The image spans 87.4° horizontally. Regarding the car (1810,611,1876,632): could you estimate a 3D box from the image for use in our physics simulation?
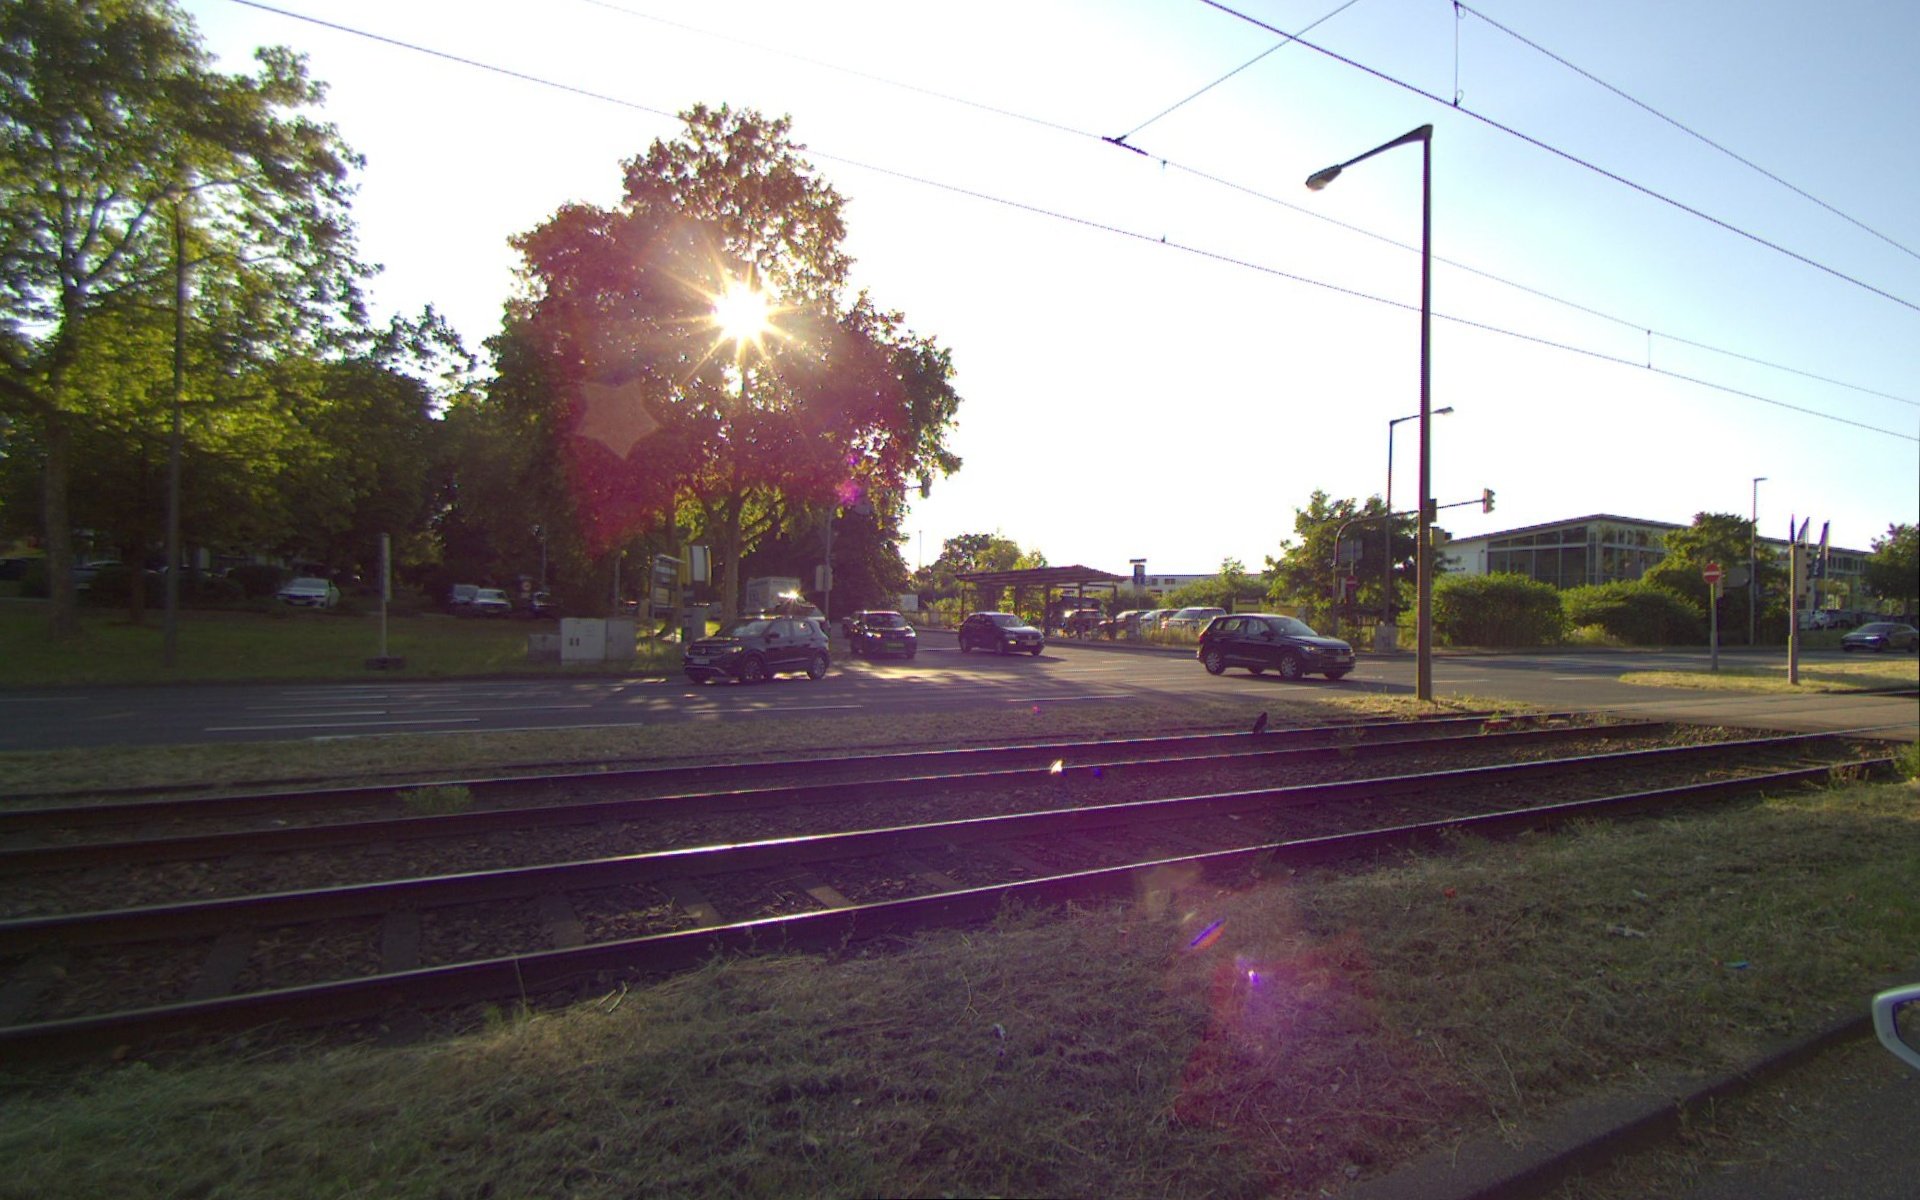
[{"bbox_3d":[71.976,1.739,81.938,3.940,1.577,1.735,1,0,40],"label":"car"}]

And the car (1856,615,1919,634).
[{"bbox_3d":[81.753,2.143,88.505,1.728,1.576,3.957,1,0,-37],"label":"car"}]

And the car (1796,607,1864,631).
[{"bbox_3d":[68.351,1.483,78.977,3.940,1.840,1.735,1,0,40],"label":"car"}]

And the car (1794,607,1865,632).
[{"bbox_3d":[65.167,1.435,75.365,3.940,1.727,1.735,1,0,40],"label":"car"}]

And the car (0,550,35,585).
[{"bbox_3d":[-53.872,-1.857,56.369,2.274,1.875,5.220,2,0,-36],"label":"car"}]

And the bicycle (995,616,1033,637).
[{"bbox_3d":[3.058,1.481,56.403,2.004,1.119,0.777,2,0,-30],"label":"bicycle"}]

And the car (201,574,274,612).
[{"bbox_3d":[-32.125,-0.302,44.745,1.916,1.530,4.071,2,0,-26],"label":"car"}]

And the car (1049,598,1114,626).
[{"bbox_3d":[9.275,0.942,76.655,4.715,2.041,1.853,1,0,-30],"label":"car"}]

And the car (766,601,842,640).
[{"bbox_3d":[-7.216,0.929,46.207,1.824,1.656,4.270,1,0,-34],"label":"car"}]

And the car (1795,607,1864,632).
[{"bbox_3d":[66.713,1.485,77.165,3.940,1.727,1.735,1,0,40],"label":"car"}]

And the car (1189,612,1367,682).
[{"bbox_3d":[8.237,1.192,26.427,1.857,1.656,4.333,1,-2,-31],"label":"car"}]

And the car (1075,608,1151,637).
[{"bbox_3d":[8.809,1.289,57.790,4.123,1.604,1.853,1,0,-30],"label":"car"}]

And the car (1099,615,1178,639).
[{"bbox_3d":[9.928,1.491,55.859,4.123,1.284,1.853,1,0,-30],"label":"car"}]

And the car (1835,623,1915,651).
[{"bbox_3d":[52.532,2.101,57.689,4.112,1.501,1.858,1,0,-23],"label":"car"}]

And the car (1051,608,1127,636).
[{"bbox_3d":[7.705,1.296,59.984,4.123,1.604,1.968,1,0,-30],"label":"car"}]

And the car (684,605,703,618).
[{"bbox_3d":[-33.272,1.418,125.367,1.887,1.602,4.036,2,0,-21],"label":"car"}]

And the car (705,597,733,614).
[{"bbox_3d":[-22.785,0.505,94.902,1.711,1.603,4.028,1,0,-27],"label":"car"}]

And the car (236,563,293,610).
[{"bbox_3d":[-37.308,-0.730,53.996,2.138,2.334,4.369,2,0,-31],"label":"car"}]

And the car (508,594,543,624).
[{"bbox_3d":[-26.237,0.521,60.688,1.836,1.637,4.036,2,0,-23],"label":"car"}]

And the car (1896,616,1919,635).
[{"bbox_3d":[88.369,2.374,91.738,1.725,1.642,3.962,1,0,-34],"label":"car"}]

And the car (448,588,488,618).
[{"bbox_3d":[-28.584,0.144,58.483,1.836,1.637,4.036,2,0,-23],"label":"car"}]

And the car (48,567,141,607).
[{"bbox_3d":[-36.099,-0.536,42.009,1.916,1.530,4.071,2,0,-26],"label":"car"}]

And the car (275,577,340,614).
[{"bbox_3d":[-29.444,-0.202,45.427,1.916,1.530,4.071,2,0,-26],"label":"car"}]

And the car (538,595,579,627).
[{"bbox_3d":[-20.451,0.538,51.127,1.604,1.477,3.878,2,0,-27],"label":"car"}]

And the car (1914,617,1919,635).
[{"bbox_3d":[91.285,2.490,93.017,1.725,1.642,3.962,1,0,-34],"label":"car"}]

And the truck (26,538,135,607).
[{"bbox_3d":[-44.525,-1.319,51.052,2.468,3.209,6.187,2,0,-26],"label":"truck"}]

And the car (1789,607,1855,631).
[{"bbox_3d":[69.313,1.500,80.822,3.940,1.840,1.735,1,0,40],"label":"car"}]

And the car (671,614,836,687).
[{"bbox_3d":[-4.818,1.152,23.951,1.725,1.578,3.967,-1,-2,28],"label":"car"}]

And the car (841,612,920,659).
[{"bbox_3d":[-2.943,1.267,36.348,1.711,1.565,4.314,1,-2,-20],"label":"car"}]

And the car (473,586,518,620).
[{"bbox_3d":[-22.946,0.126,49.577,1.916,1.530,4.071,2,0,-26],"label":"car"}]

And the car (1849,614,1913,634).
[{"bbox_3d":[79.601,2.055,86.887,3.940,1.577,1.735,1,0,40],"label":"car"}]

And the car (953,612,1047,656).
[{"bbox_3d":[1.452,1.251,38.234,1.692,1.581,4.133,1,-1,-30],"label":"car"}]

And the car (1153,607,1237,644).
[{"bbox_3d":[12.351,1.330,52.727,4.123,1.846,1.853,1,0,-30],"label":"car"}]

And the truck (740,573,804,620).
[{"bbox_3d":[-15.059,-0.286,79.778,2.782,3.520,8.291,1,0,-27],"label":"truck"}]

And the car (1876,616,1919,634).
[{"bbox_3d":[84.899,2.265,89.998,1.726,1.576,3.960,1,0,-35],"label":"car"}]

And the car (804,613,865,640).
[{"bbox_3d":[-6.574,1.354,52.177,1.597,1.311,3.947,1,0,-33],"label":"car"}]

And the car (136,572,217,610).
[{"bbox_3d":[-33.967,-0.375,43.672,1.916,1.530,4.071,2,0,-26],"label":"car"}]
